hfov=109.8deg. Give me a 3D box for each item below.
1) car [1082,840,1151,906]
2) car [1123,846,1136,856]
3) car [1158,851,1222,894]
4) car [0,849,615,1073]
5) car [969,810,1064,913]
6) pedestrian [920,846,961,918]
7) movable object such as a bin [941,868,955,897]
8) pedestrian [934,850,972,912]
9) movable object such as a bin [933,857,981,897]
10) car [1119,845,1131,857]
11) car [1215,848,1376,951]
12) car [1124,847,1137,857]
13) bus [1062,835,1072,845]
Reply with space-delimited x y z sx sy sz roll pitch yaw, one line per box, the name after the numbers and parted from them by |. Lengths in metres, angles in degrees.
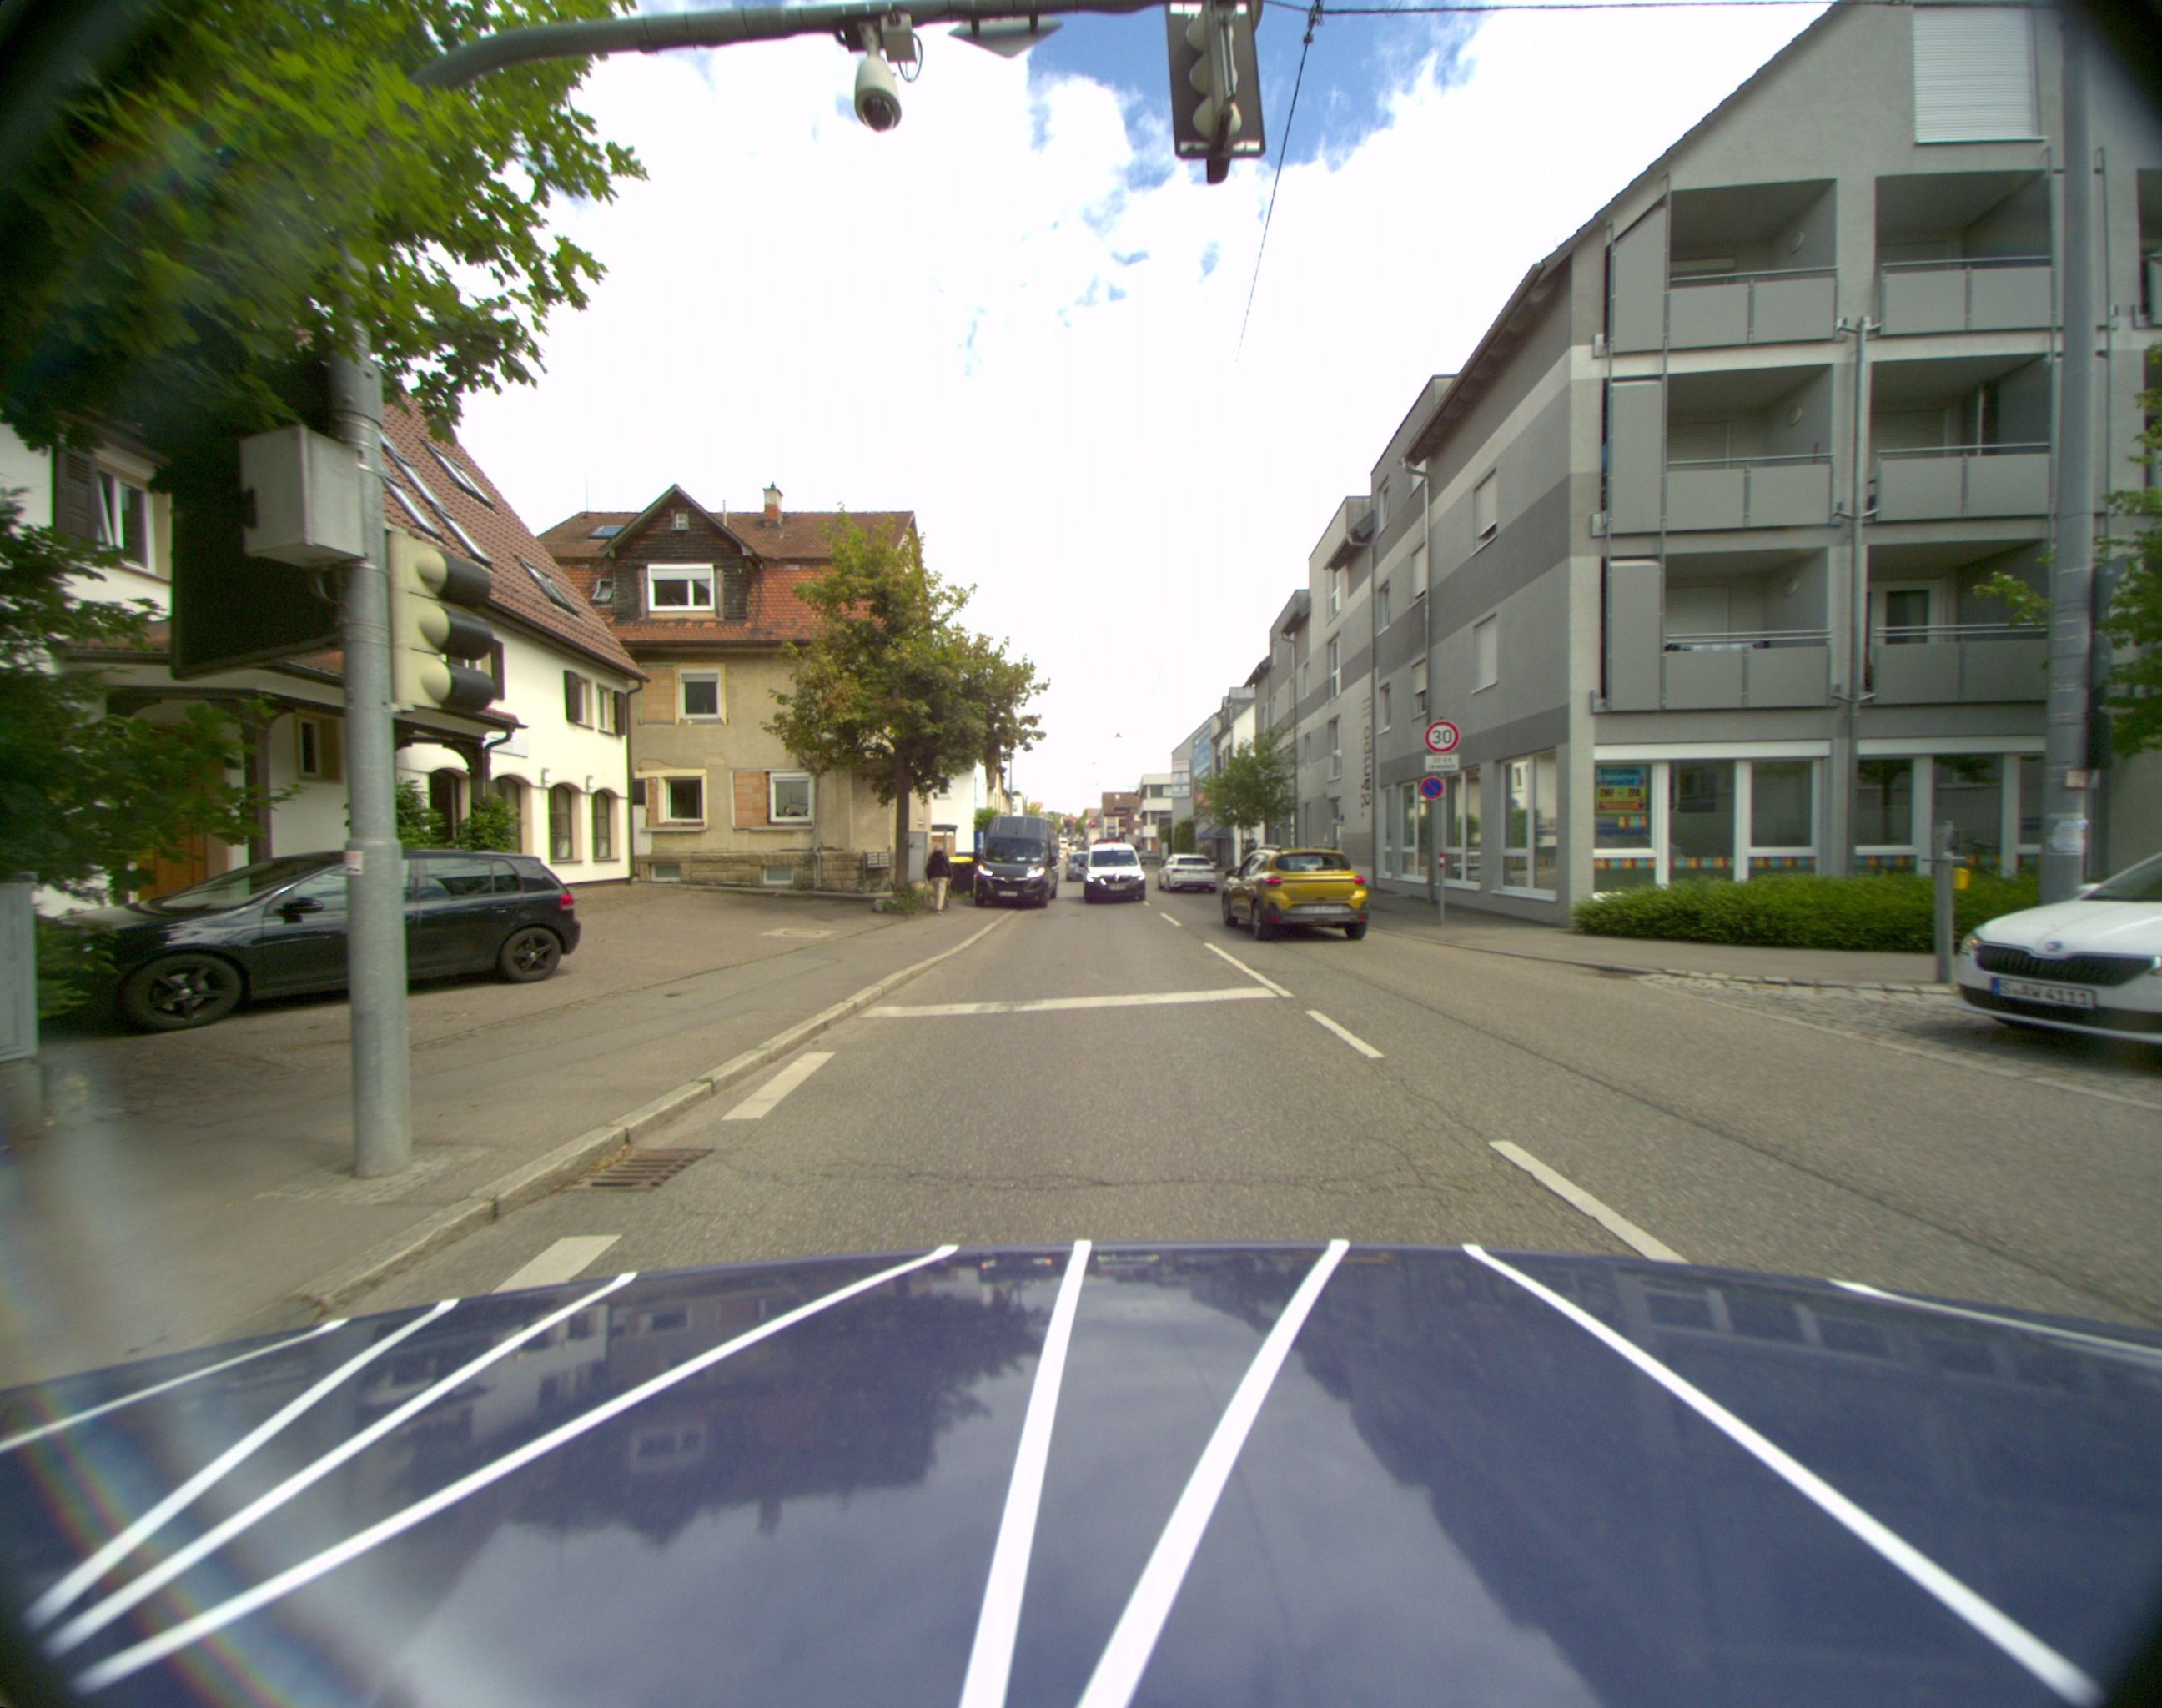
1.069 0.506 23.678 1.870 1.805 5.007 -2 1 2 | car
7.493 -0.481 117.589 1.809 1.521 4.001 -1 1 6 | car
4.069 0.655 29.017 1.879 1.416 4.115 -2 1 1 | car
-7.229 0.769 7.551 1.752 1.508 4.086 3 1 25 | car
-1.829 0.169 23.854 2.153 2.755 6.249 -1 1 2 | car
-3.543 0.682 19.191 0.742 1.772 0.900 -1 1 5 | pedestrian
-4.311 0.919 24.546 0.410 0.933 0.273 2 1 -11 | movable object such as a bin
-3.506 0.727 20.853 0.786 1.634 0.798 -1 1 6 | pedestrian
-4.179 0.746 25.596 1.188 1.258 1.206 -2 1 -31 | movable object such as a bin
7.120 -0.451 122.514 1.701 1.766 4.462 -1 1 6 | car
3.658 0.695 13.677 1.732 1.529 4.000 -2 0 0 | car
7.182 -0.299 110.698 1.840 1.419 4.218 -1 1 2 | car
-4.738 -4.631 254.483 3.134 3.239 9.746 -2 1 -2 | bus
